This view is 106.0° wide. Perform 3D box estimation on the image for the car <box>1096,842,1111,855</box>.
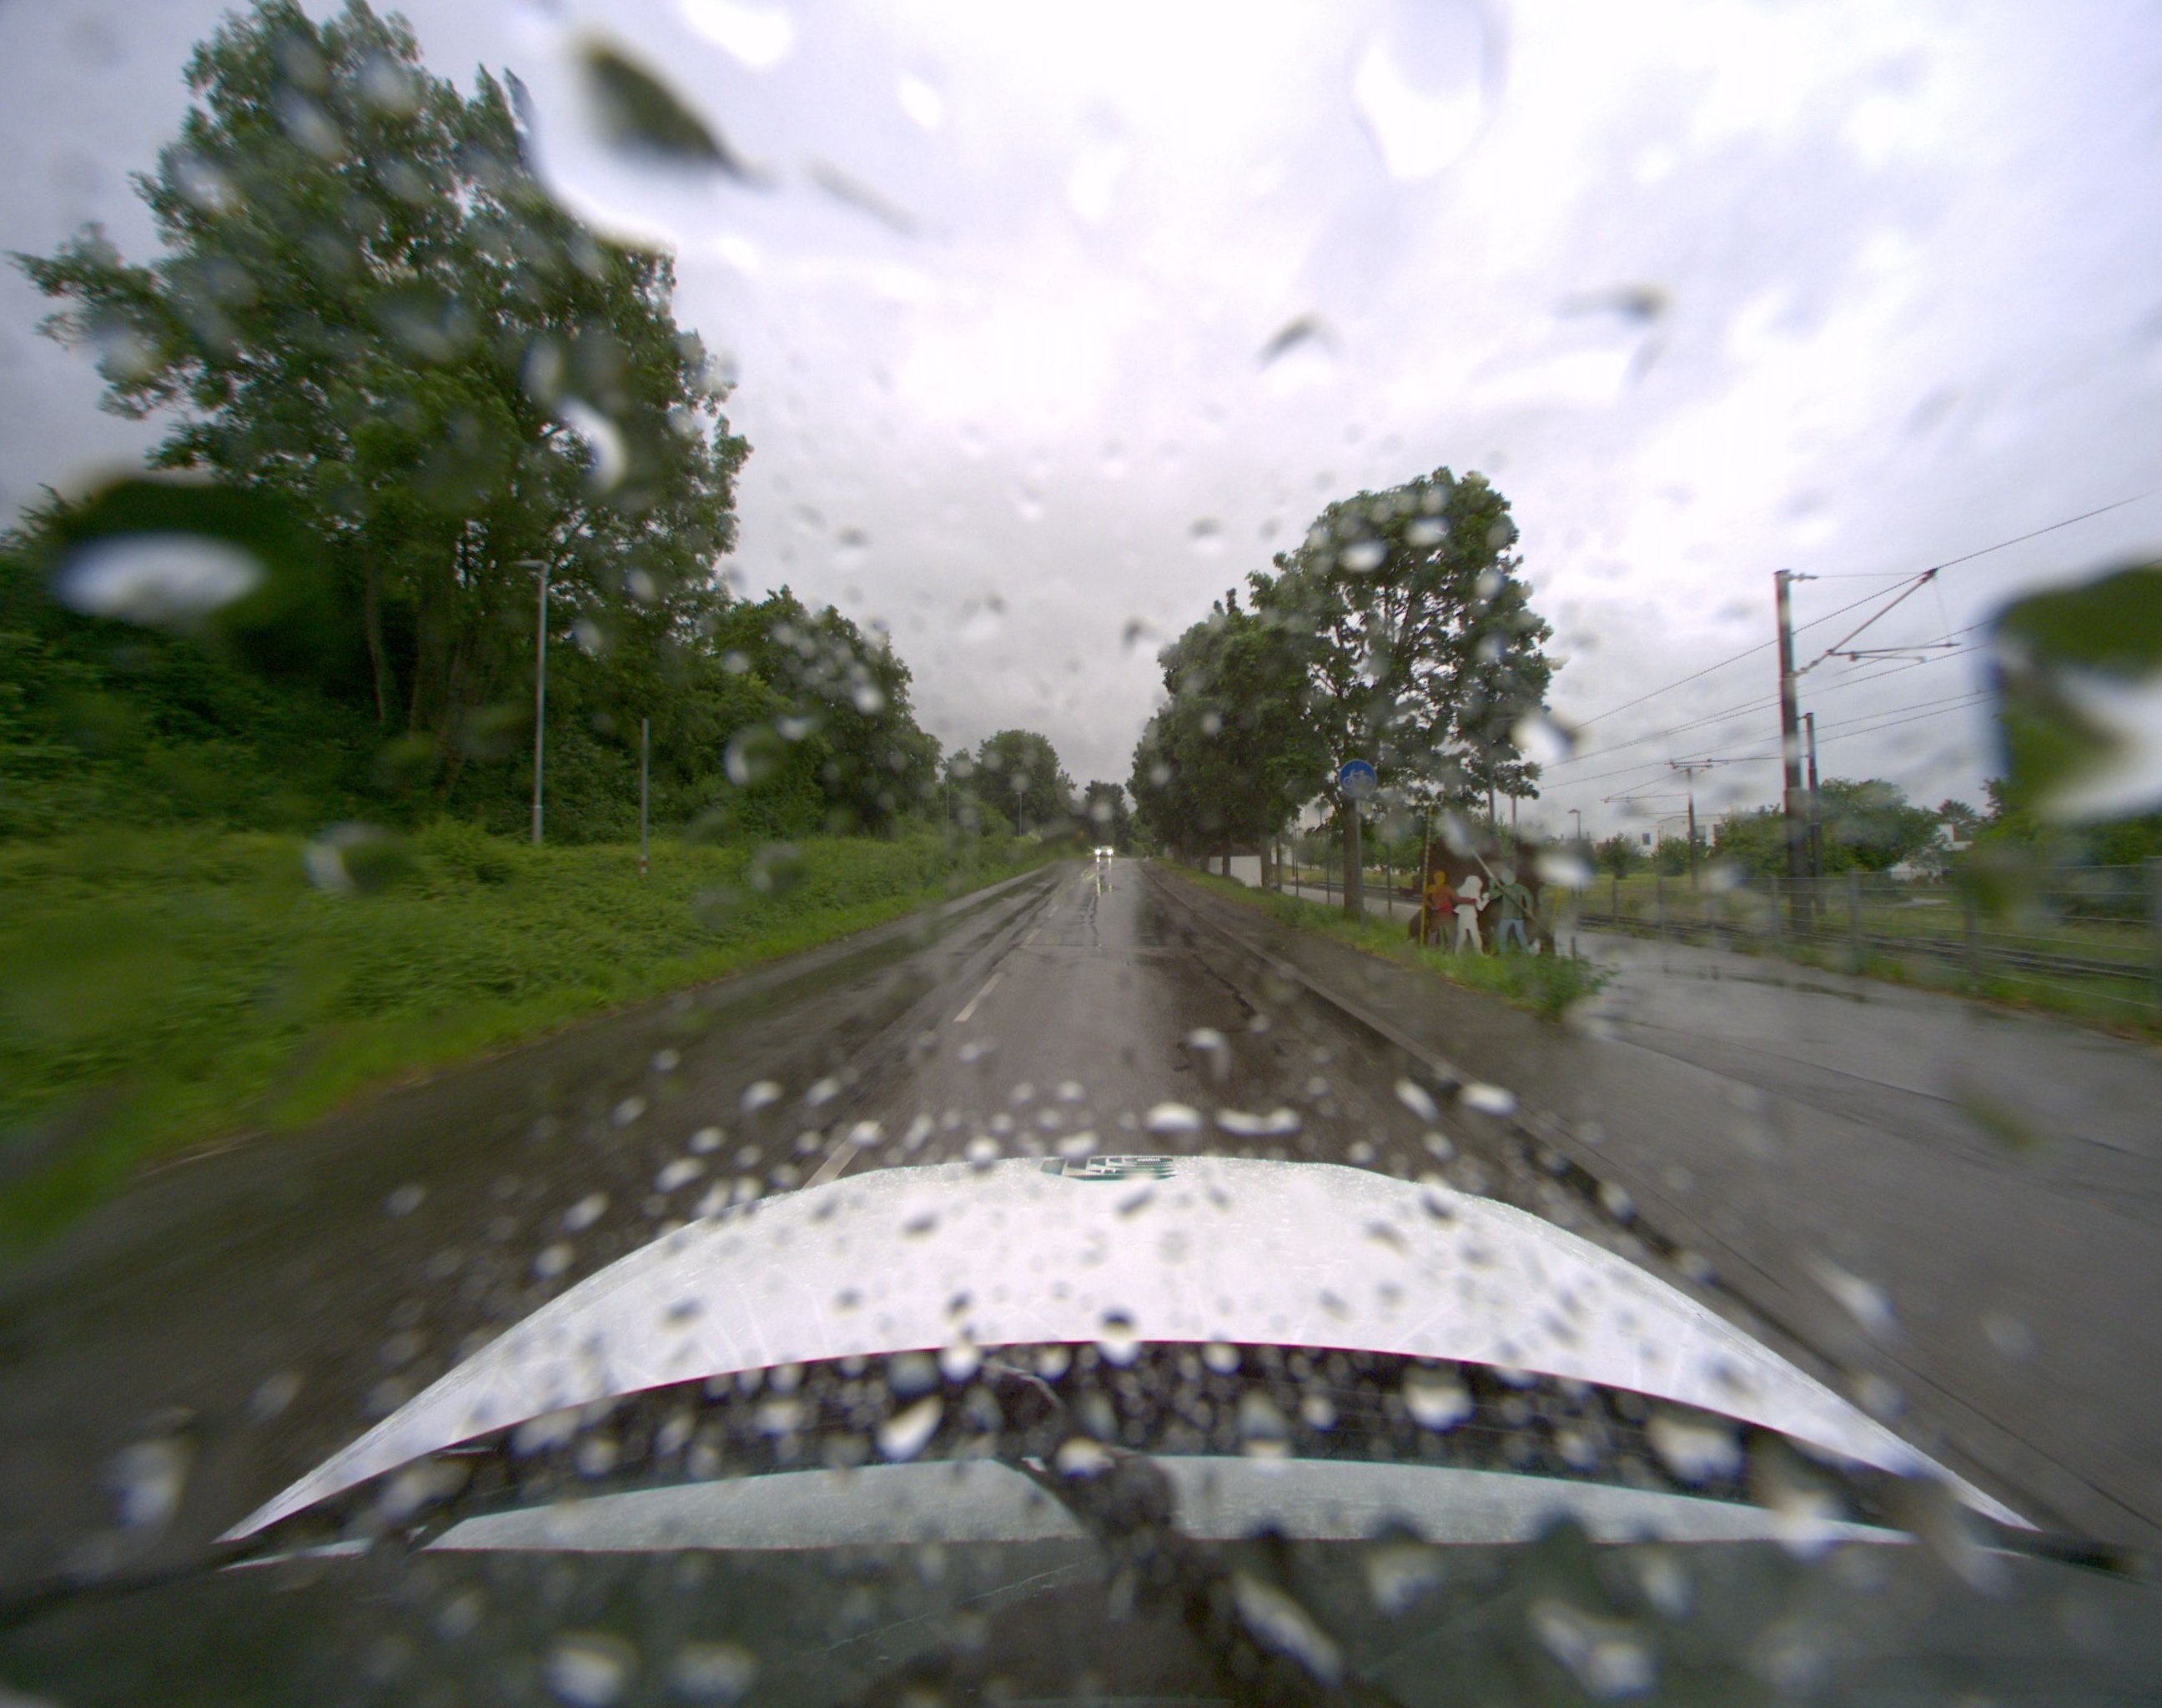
[{"bbox_3d":[2.821,-0.698,100.909,1.774,1.504,4.004,-1,2,3],"label":"car"}]
